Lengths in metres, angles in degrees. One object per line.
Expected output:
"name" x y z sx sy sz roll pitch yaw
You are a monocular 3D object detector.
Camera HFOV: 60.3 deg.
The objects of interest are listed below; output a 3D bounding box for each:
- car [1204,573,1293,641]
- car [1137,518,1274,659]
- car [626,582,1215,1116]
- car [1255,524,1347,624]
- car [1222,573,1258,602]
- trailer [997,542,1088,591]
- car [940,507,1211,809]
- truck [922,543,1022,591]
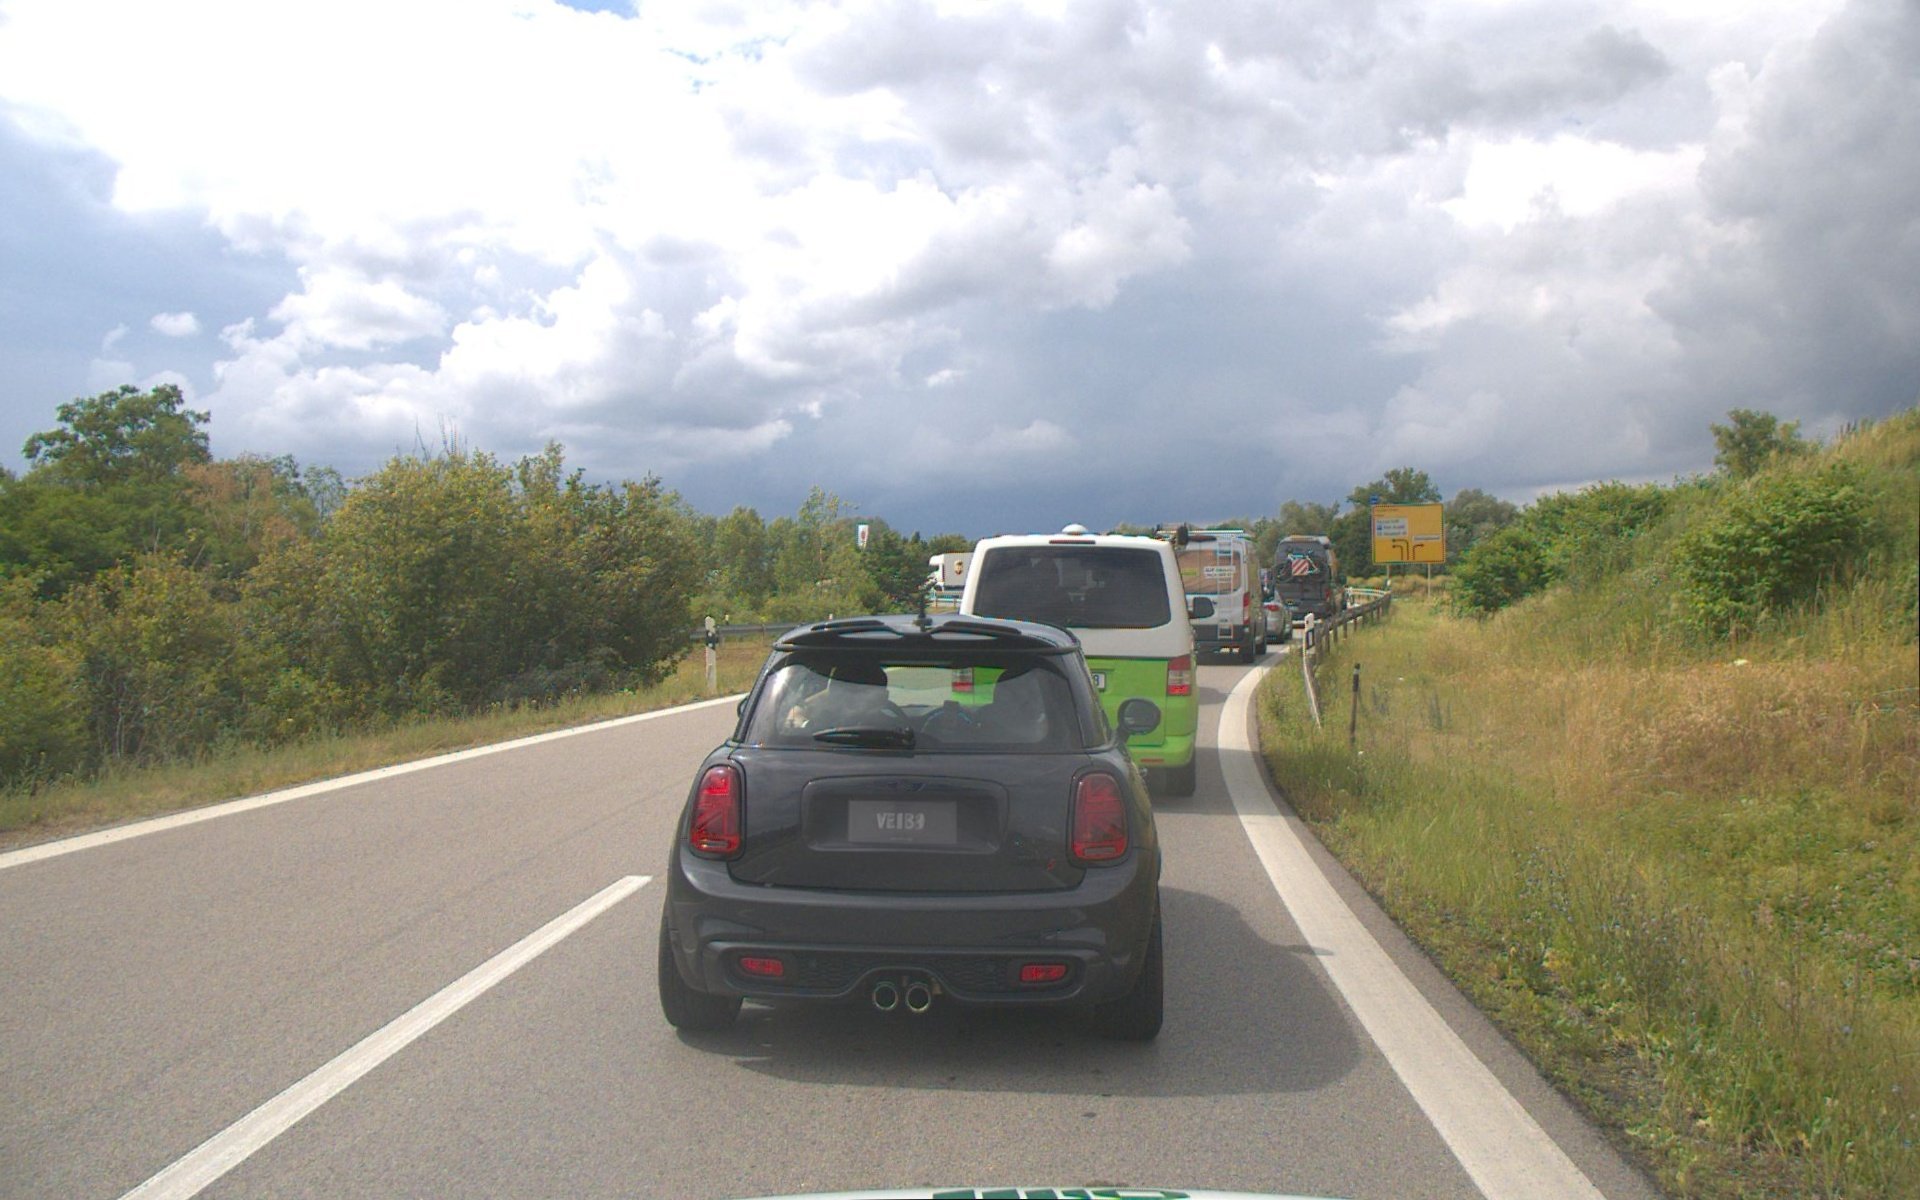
"car" 7.549 0.180 43.034 1.951 1.671 3.931 1 0 15
"car" 5.172 -0.212 34.183 2.165 2.668 5.538 1 0 15
"car" -0.019 0.727 6.829 1.762 1.573 3.740 0 0 3
"car" 11.417 -0.792 55.015 2.262 3.122 6.665 1 0 18
"car" 19.846 -0.861 117.340 2.051 1.916 4.497 1 0 4
"trailer" 6.963 -2.797 140.238 3.011 3.966 8.664 1 0 -35
"car" 1.074 0.392 13.580 1.870 2.081 4.184 0 0 8
"truck" 0.966 -2.891 147.281 2.824 4.045 9.867 1 0 -44
